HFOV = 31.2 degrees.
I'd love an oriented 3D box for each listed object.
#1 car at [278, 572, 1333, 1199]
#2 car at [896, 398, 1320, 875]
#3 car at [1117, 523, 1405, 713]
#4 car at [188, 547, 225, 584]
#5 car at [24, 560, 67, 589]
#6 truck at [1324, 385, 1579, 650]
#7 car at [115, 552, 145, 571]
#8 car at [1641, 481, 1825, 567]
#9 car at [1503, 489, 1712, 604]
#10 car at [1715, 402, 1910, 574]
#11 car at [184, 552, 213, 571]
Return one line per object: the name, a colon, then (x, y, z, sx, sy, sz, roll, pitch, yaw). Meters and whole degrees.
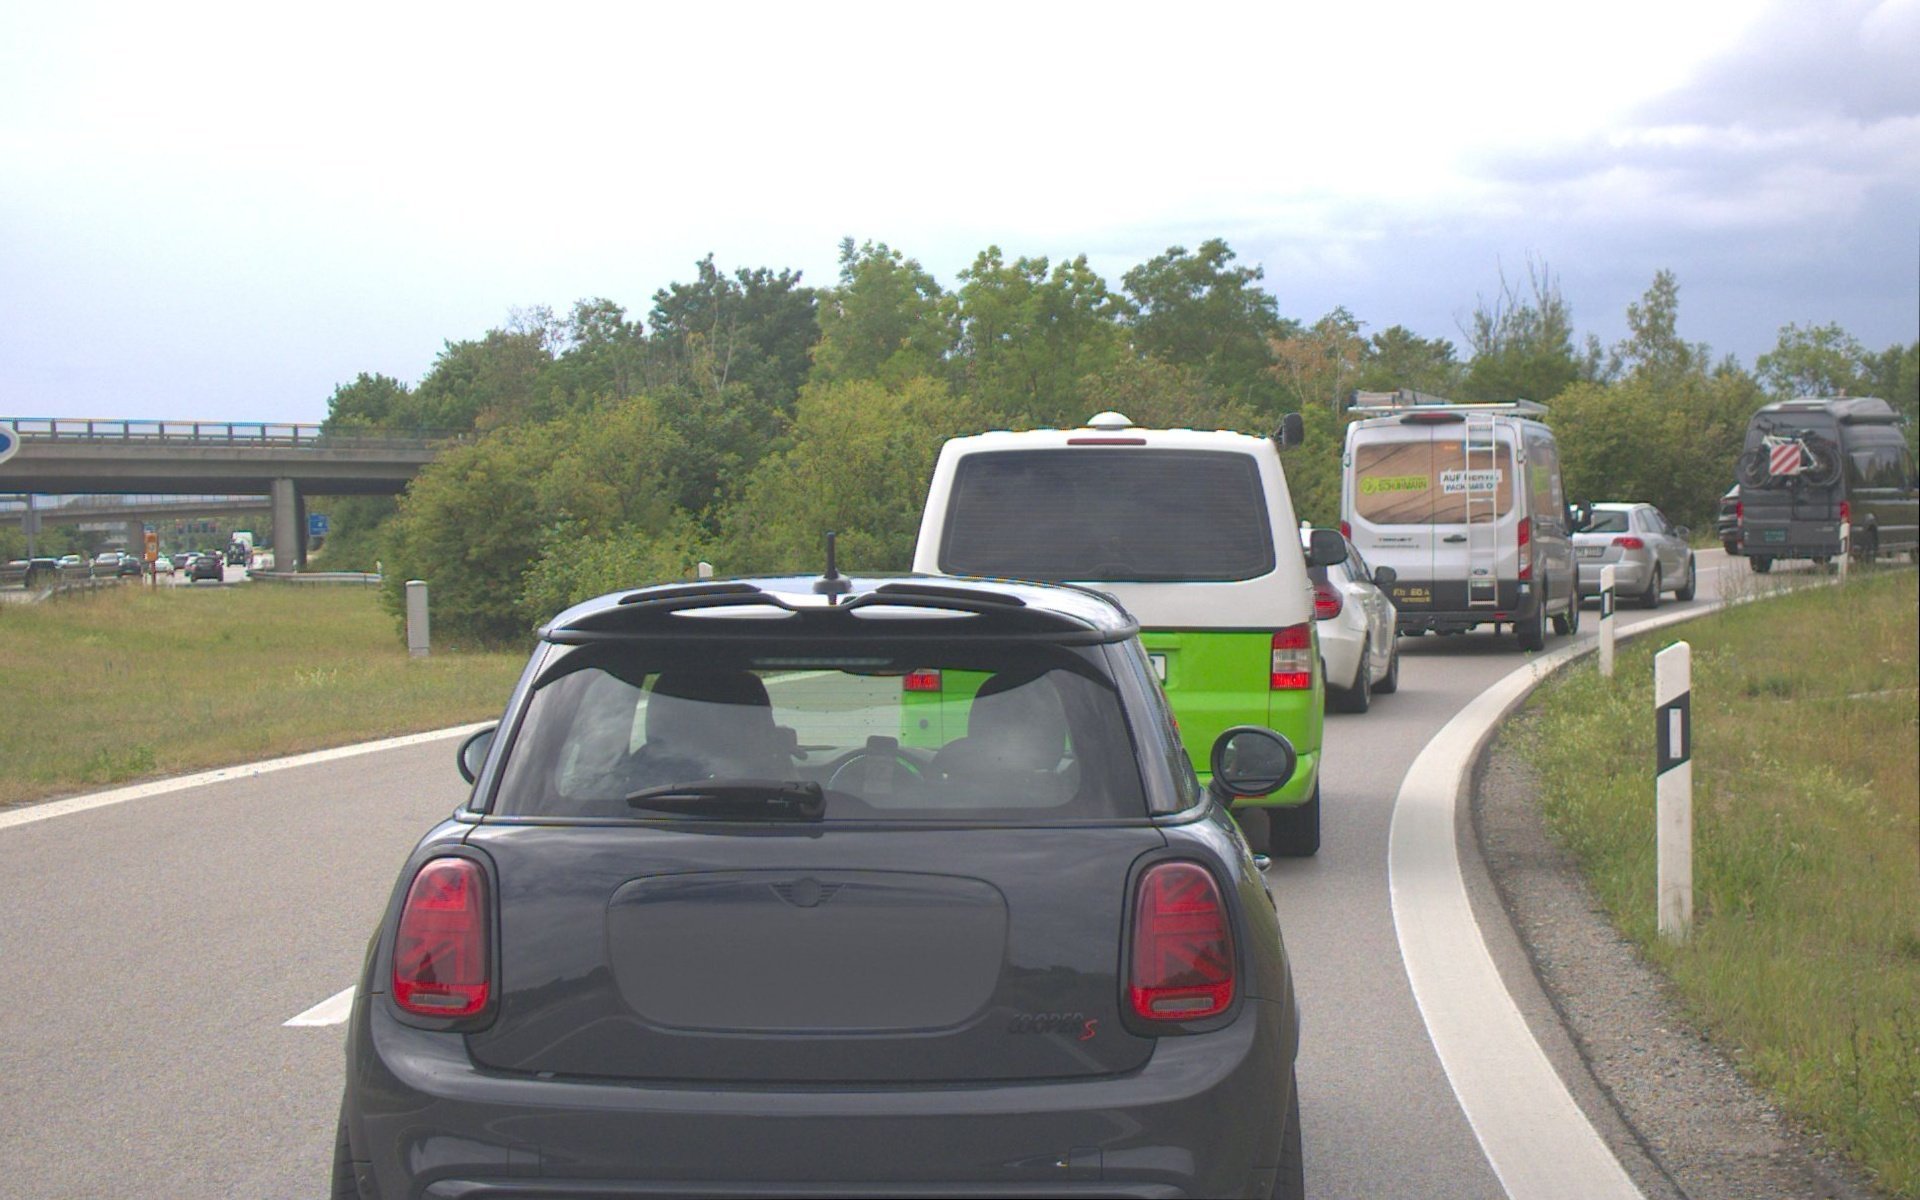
car: (-0.226, 0.661, 7.495, 1.727, 1.409, 3.725, 0, 1, 1)
car: (0.821, 0.114, 16.540, 1.784, 2.007, 3.999, 0, 1, 6)
car: (2.452, 0.101, 27.212, 1.763, 1.394, 3.723, -1, 1, 13)
car: (-42.553, -1.938, 194.164, 1.993, 2.007, 4.001, 1, 0, -12)
car: (-46.869, -1.315, 176.315, 1.721, 1.419, 4.799, -1, 1, -10)
truck: (5.394, -0.906, 37.121, 2.180, 2.649, 5.106, 0, 2, 14)
car: (-60.503, -2.804, 250.657, 1.779, 1.394, 4.307, -1, 1, -9)
car: (14.581, -1.416, 64.705, 1.837, 1.560, 4.489, 0, 1, 34)
car: (8.941, -0.741, 47.243, 1.869, 1.504, 3.995, 0, 1, 25)
car: (14.395, -1.862, 57.890, 2.108, 2.786, 3.993, 1, 2, 30)
car: (-56.664, -2.894, 255.845, 1.779, 1.394, 4.552, -1, 1, -9)
